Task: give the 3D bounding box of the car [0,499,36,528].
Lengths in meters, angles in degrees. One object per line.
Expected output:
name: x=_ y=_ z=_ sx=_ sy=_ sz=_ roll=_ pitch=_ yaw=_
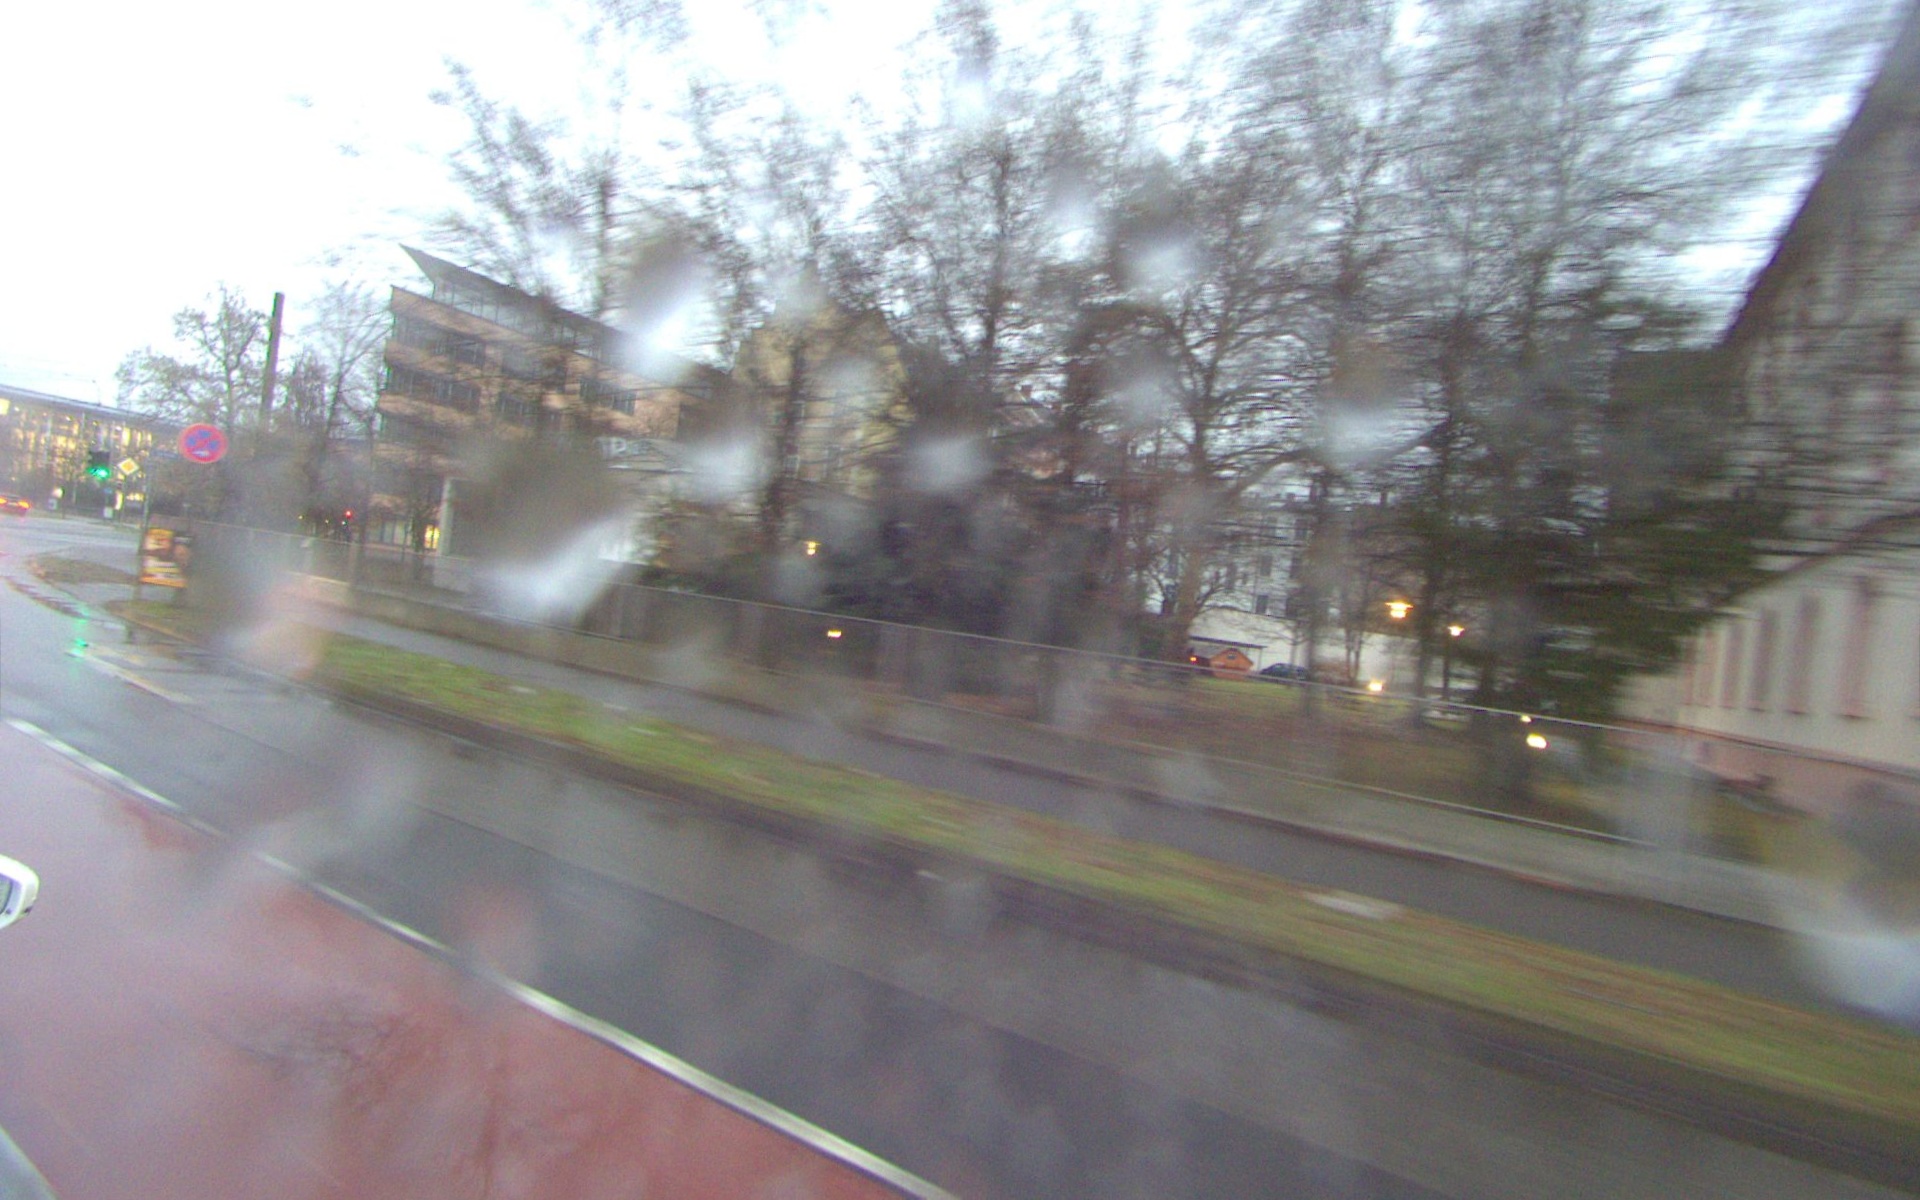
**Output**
car: x=-64.184 y=-5.895 z=68.448 sx=1.740 sy=1.631 sz=3.949 roll=7 pitch=0 yaw=-44
